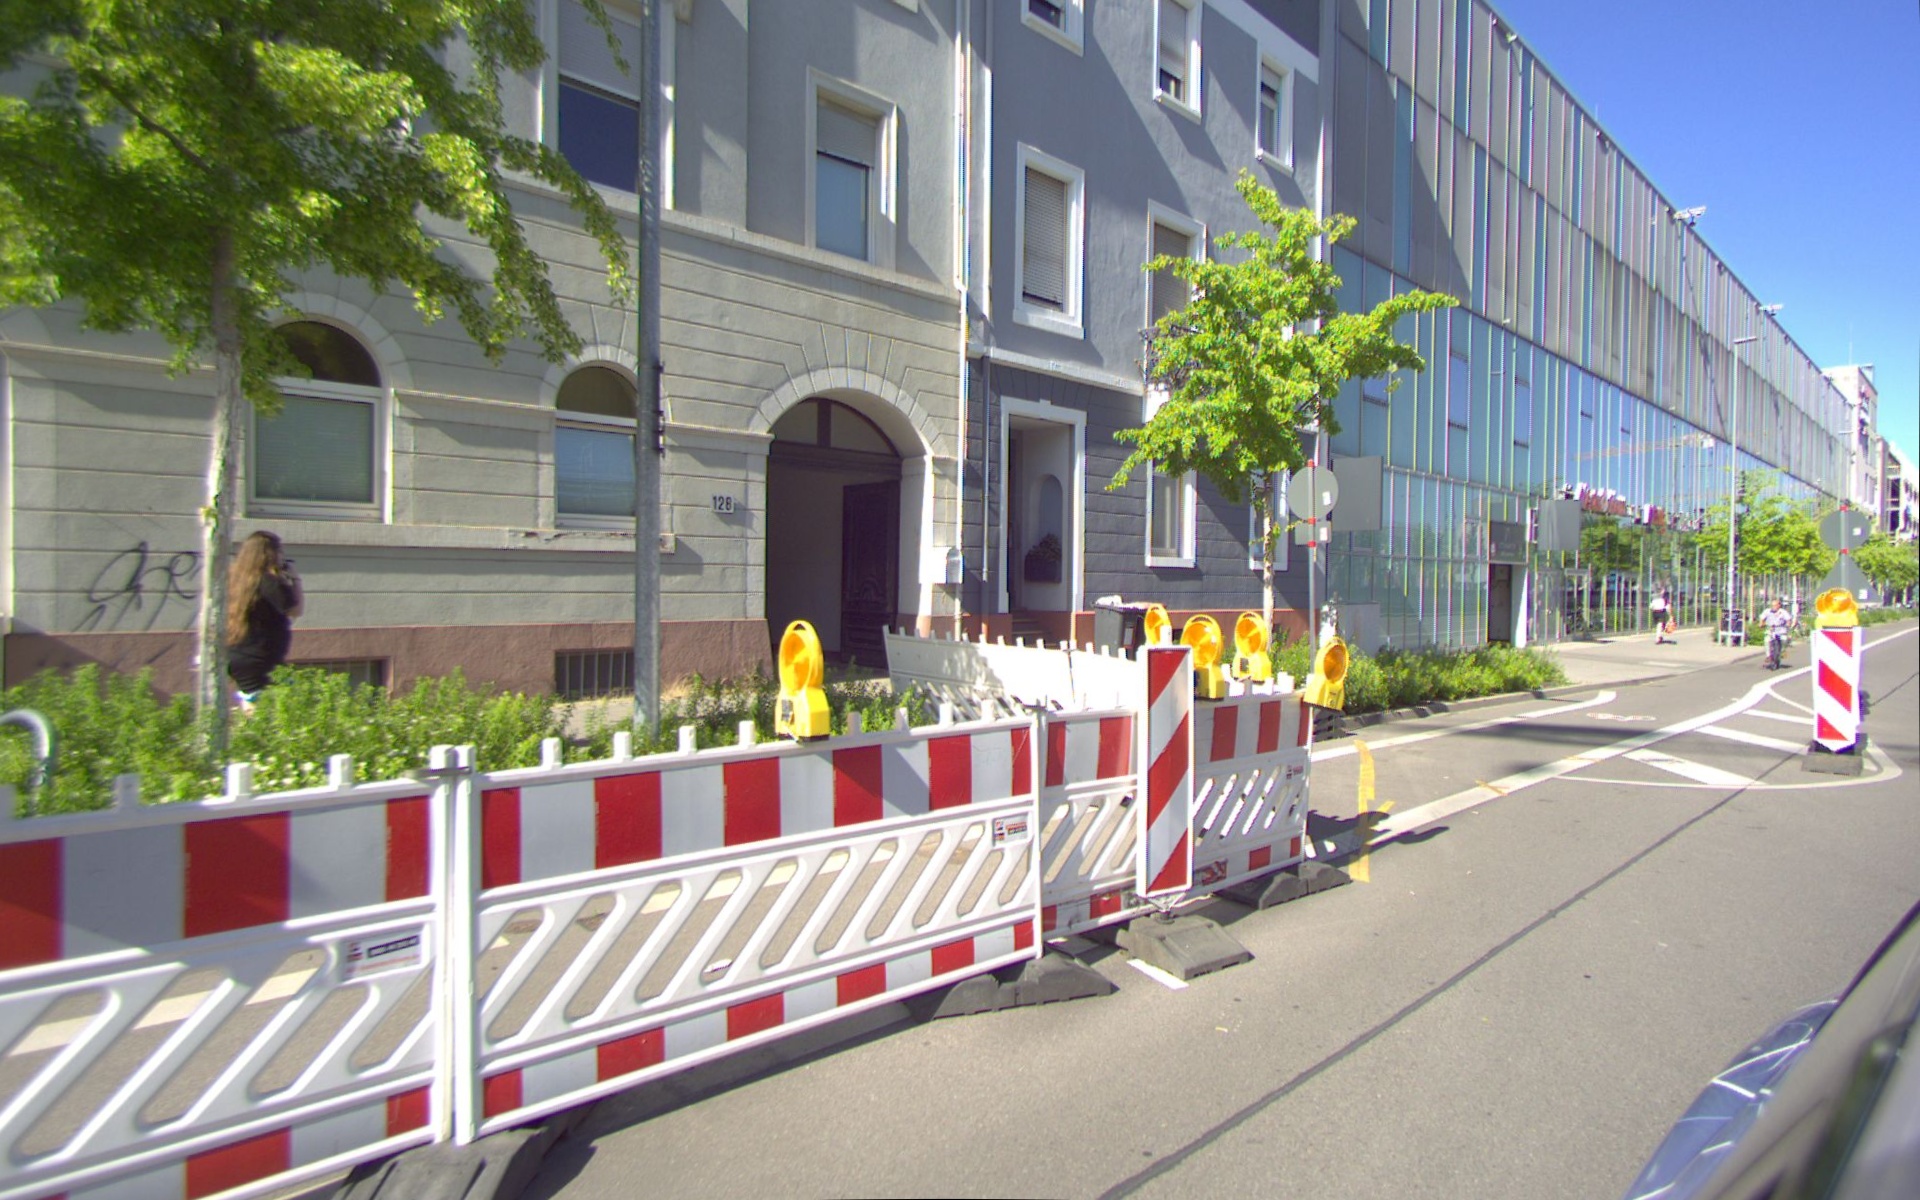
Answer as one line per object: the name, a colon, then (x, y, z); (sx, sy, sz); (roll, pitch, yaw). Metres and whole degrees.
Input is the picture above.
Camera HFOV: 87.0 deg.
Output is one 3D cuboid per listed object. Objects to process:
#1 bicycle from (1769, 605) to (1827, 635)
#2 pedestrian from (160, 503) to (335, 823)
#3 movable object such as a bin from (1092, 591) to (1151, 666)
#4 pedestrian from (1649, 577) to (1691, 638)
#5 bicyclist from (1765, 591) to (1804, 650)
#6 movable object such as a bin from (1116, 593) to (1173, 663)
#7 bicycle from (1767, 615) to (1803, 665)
bicycle: (34.526, 0.807, 41.741); (1.728, 1.075, 0.462); (5, 3, 32)
pedestrian: (-4.737, 0.377, 6.732); (0.792, 1.953, 0.759); (1, 0, 40)
movable object such as a bin: (2.505, 0.424, 15.725); (0.691, 1.122, 0.589); (1, 0, -42)
pedestrian: (23.890, 0.247, 34.049); (0.880, 1.946, 0.877); (-3, 6, -43)
bicyclist: (21.153, 0.509, 25.964); (0.753, 1.480, 0.578); (1, 1, 42)
movable object such as a bin: (2.986, 0.439, 16.393); (0.691, 1.096, 0.604); (1, 0, -42)
bicycle: (21.164, 1.002, 25.957); (0.608, 1.165, 1.957); (1, 1, 42)
